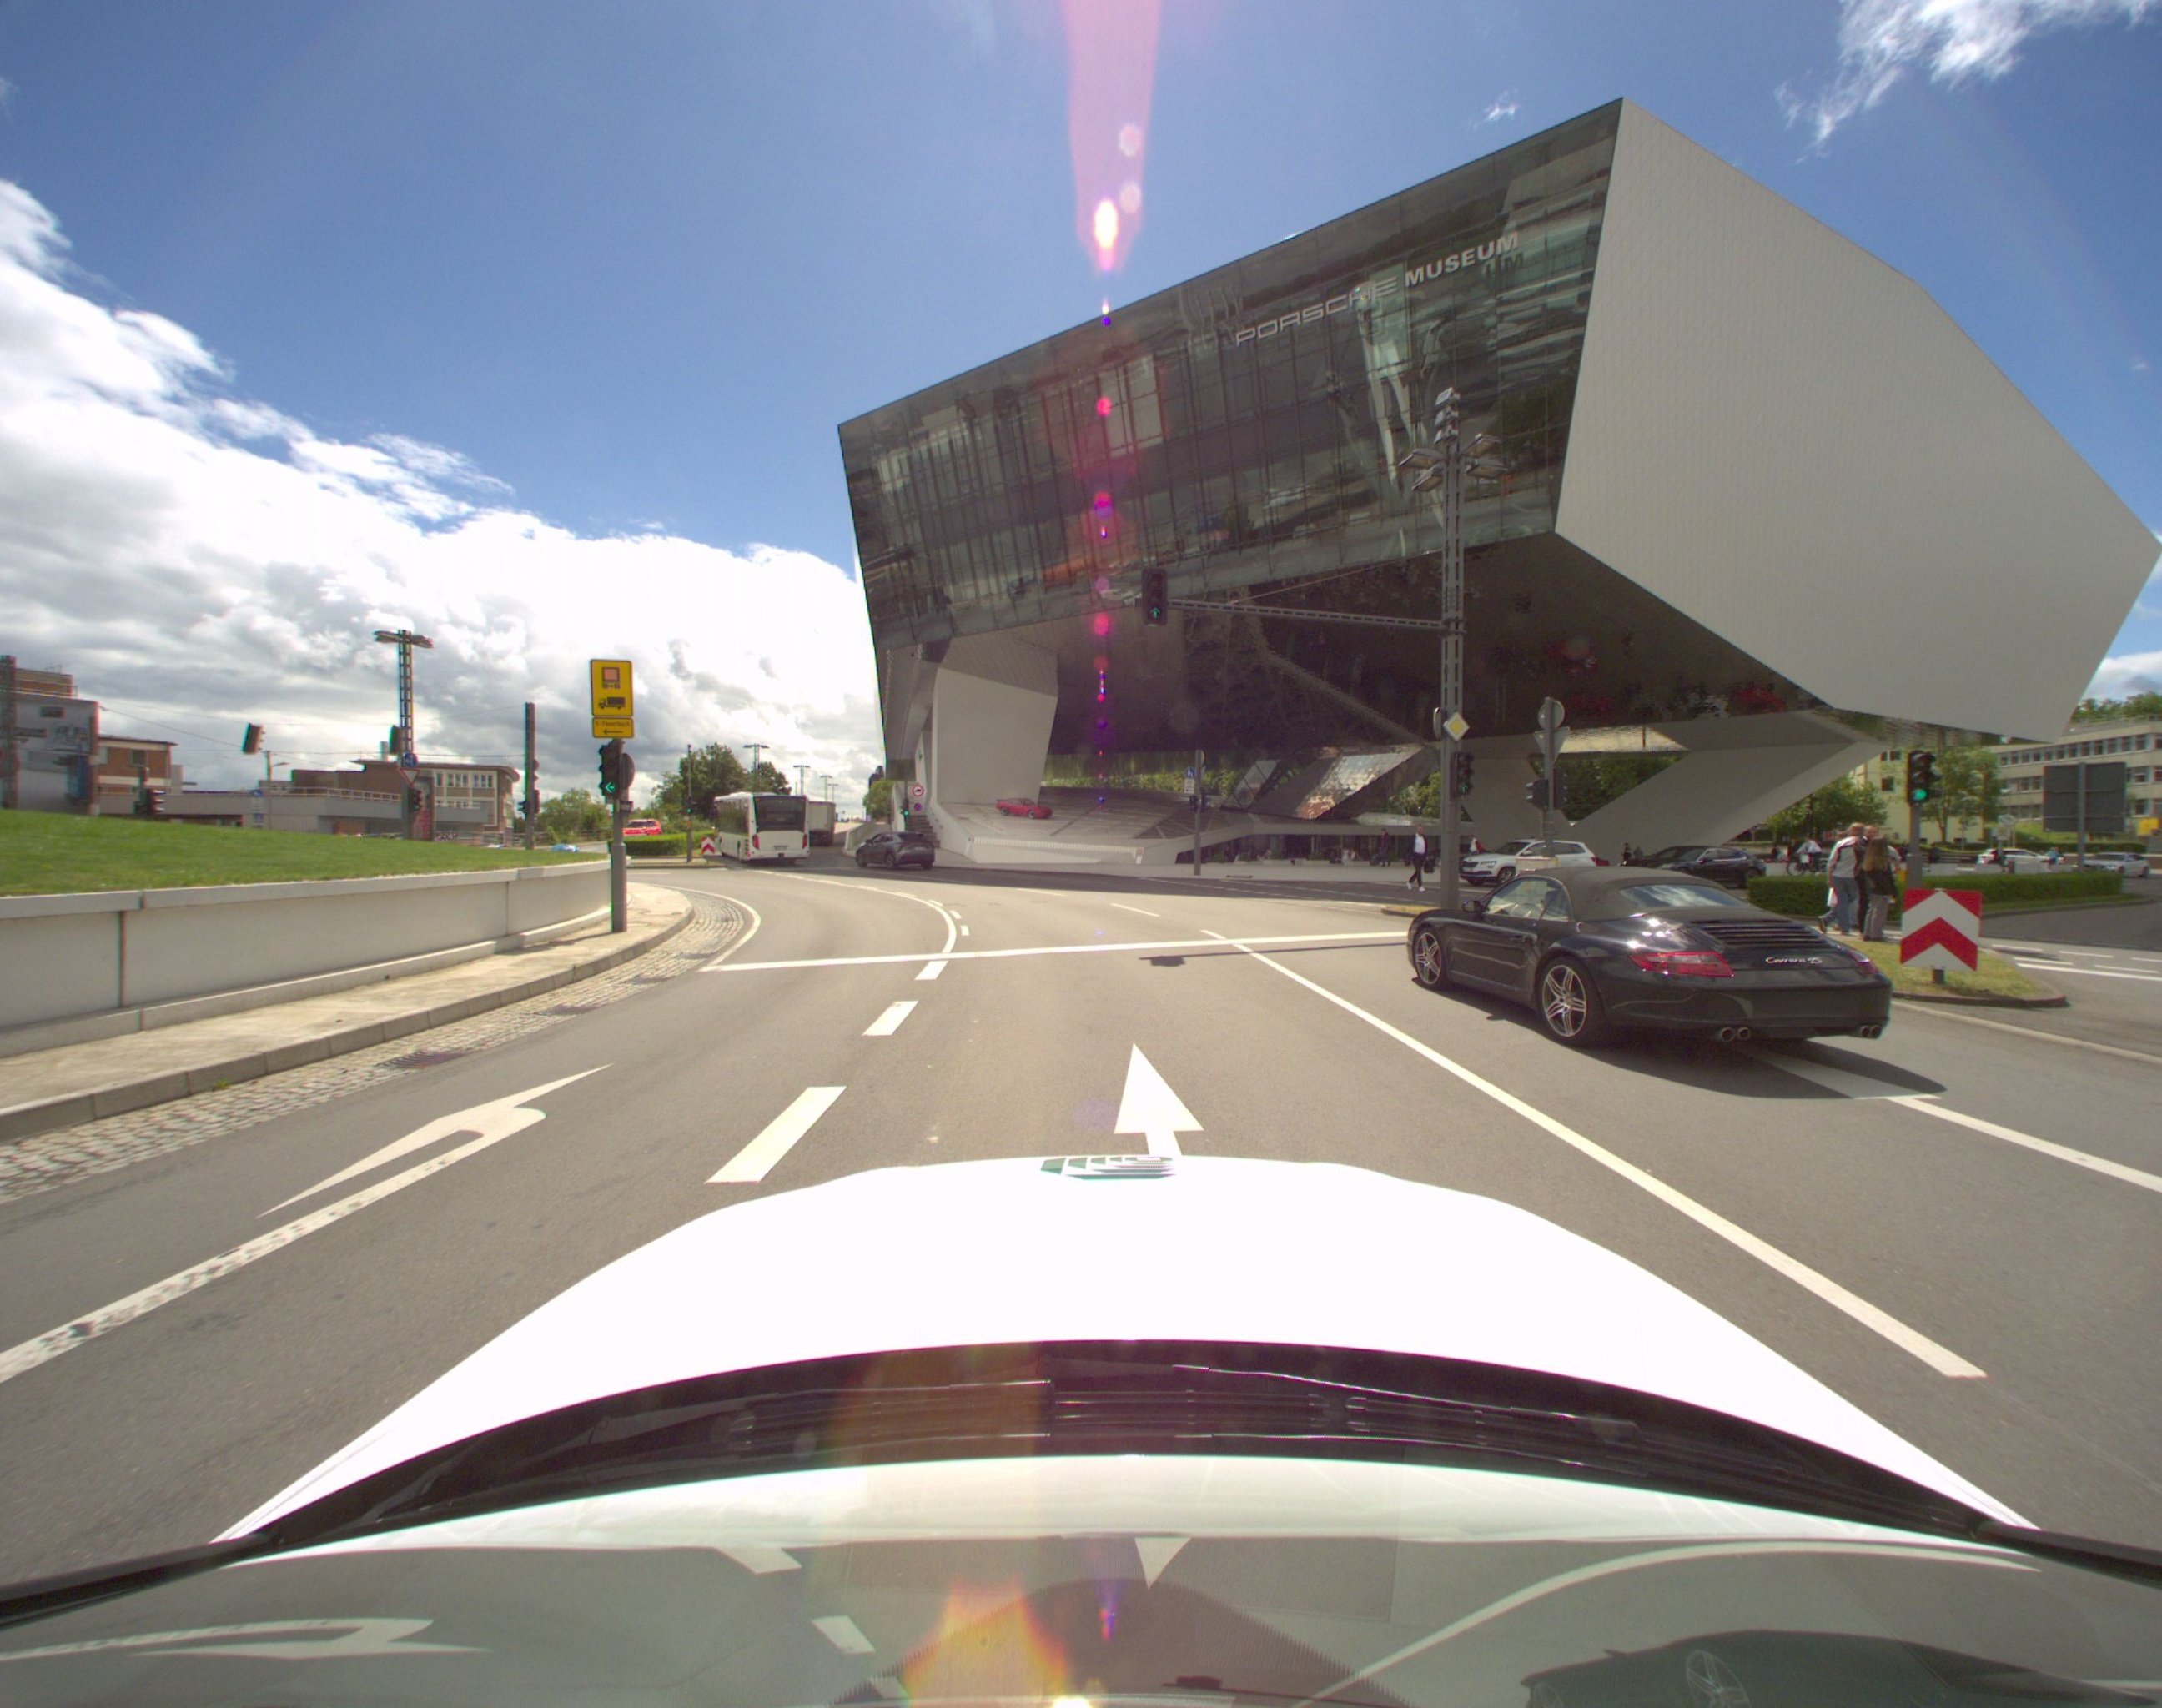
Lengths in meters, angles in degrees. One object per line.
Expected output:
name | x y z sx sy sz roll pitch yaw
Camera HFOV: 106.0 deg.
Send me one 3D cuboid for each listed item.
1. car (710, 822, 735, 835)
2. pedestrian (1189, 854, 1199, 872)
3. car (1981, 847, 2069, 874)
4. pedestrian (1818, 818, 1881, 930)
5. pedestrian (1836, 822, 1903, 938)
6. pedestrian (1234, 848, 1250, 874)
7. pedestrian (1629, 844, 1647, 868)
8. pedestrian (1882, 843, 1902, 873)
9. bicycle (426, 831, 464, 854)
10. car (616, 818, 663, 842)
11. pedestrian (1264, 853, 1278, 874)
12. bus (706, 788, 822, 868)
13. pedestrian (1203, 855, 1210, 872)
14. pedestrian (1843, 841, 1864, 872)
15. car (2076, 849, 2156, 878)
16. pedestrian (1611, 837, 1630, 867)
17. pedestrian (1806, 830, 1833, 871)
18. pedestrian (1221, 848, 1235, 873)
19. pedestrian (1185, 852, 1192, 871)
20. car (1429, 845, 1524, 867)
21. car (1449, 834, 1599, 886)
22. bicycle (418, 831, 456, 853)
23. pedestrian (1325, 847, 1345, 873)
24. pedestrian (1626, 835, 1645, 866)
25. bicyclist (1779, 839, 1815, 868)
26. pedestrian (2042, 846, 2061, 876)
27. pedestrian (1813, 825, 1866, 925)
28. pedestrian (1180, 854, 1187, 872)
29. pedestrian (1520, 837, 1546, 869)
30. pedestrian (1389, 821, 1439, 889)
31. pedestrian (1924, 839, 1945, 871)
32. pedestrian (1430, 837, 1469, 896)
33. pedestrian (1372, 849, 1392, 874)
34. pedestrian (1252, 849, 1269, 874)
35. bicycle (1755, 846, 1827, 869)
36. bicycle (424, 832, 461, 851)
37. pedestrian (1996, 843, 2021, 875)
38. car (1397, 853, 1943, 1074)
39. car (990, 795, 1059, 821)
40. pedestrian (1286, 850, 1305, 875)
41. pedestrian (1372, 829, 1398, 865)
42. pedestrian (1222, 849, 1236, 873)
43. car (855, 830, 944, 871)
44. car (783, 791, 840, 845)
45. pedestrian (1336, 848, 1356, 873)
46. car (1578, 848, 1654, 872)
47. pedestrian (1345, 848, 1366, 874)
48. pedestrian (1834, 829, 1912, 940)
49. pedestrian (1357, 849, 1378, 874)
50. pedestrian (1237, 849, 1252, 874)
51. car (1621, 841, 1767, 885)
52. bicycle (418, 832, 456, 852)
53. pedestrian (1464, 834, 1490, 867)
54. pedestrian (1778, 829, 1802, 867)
car | -41.557 -2.971 94.541 1.756 1.397 4.656 1 3 -12
pedestrian | 7.919 0.627 57.225 0.555 1.253 0.477 0 -1 27
car | 72.932 0.519 63.019 4.158 2.014 2.012 0 -1 39
pedestrian | 13.068 0.338 13.859 0.664 1.847 0.624 0 -1 32
pedestrian | 12.624 0.403 13.051 0.664 1.795 0.624 0 -1 33
pedestrian | 10.087 0.438 50.926 0.914 1.573 0.833 1 -1 13
pedestrian | 40.541 0.141 59.247 0.830 1.739 0.770 1 -1 -29
pedestrian | 53.893 0.258 54.127 0.830 2.014 0.769 1 -1 -32
bicycle | -40.860 -0.734 52.339 1.740 1.381 0.667 1 -1 -14
car | -37.542 -2.047 69.401 1.993 1.983 4.822 -1 2 -10
pedestrian | 11.890 0.593 51.064 0.636 1.318 0.698 0 -1 35
bus | -16.057 -1.358 40.488 3.092 3.361 12.102 1 2 -32
pedestrian | 9.078 0.681 58.744 0.470 1.253 0.563 1 -1 9
pedestrian | 51.720 0.178 54.534 0.828 2.014 0.771 1 -1 -24
car | 60.937 0.556 47.939 4.002 1.643 1.873 1 -1 -22
pedestrian | 36.234 -0.142 54.702 0.830 2.014 0.769 1 -1 -32
pedestrian | 36.300 -0.170 40.026 0.767 2.014 0.832 0 -1 25
pedestrian | 9.254 0.430 51.318 0.823 1.573 0.926 1 -1 10
pedestrian | 7.052 0.495 53.459 0.393 1.253 0.400 1 -1 -3
car | 23.256 0.102 47.956 4.620 1.221 2.012 0 -1 44
car | 14.409 0.184 26.605 3.983 1.550 1.834 -1 0 -7
bicycle | -40.625 -0.740 51.407 1.740 1.381 0.667 1 -1 -14
pedestrian | 16.012 0.384 51.292 0.831 1.573 0.916 1 -1 -22
pedestrian | 36.555 -0.237 53.707 0.830 2.014 0.769 1 -1 -32
bicyclist | 32.093 -0.027 36.522 0.994 1.275 0.892 0 -1 26
pedestrian | 67.188 0.475 56.364 0.780 2.014 0.818 2 -1 -37
pedestrian | 13.715 0.378 14.732 0.599 1.759 0.624 0 -1 33
pedestrian | 7.098 0.607 56.446 0.393 1.253 0.561 1 -1 -3
pedestrian | 22.387 -0.051 40.327 0.786 1.541 0.799 1 -1 -18
pedestrian | 9.916 0.008 24.319 0.949 1.984 1.383 1 2 3
pedestrian | 53.195 0.074 50.752 0.830 2.014 0.769 1 -1 -32
pedestrian | 9.695 0.325 21.422 0.762 1.496 0.586 0 -1 44
pedestrian | 19.342 0.471 52.385 0.829 1.573 0.918 1 -1 -16
pedestrian | 11.360 0.464 51.605 0.785 1.573 0.698 0 -1 38
bicycle | 31.920 0.161 36.639 2.328 0.973 0.723 1 -1 27
bicycle | -41.428 -0.832 52.881 1.740 1.182 0.667 1 1 -15
pedestrian | 60.676 0.331 53.259 0.818 2.014 0.781 0 -1 23
car | 4.449 0.676 7.069 1.829 1.325 3.999 -1 0 -1
car | -3.976 -3.270 57.047 4.457 1.394 2.013 8 9 33
pedestrian | 13.772 0.532 52.289 0.831 1.573 0.916 1 -1 -22
pedestrian | 15.756 -0.333 42.221 0.831 1.826 0.916 1 -1 -22
pedestrian | 9.544 0.445 52.506 0.822 1.573 0.927 1 -1 14
car | -7.821 -0.150 34.867 2.011 1.637 3.952 1 -1 -42
car | -20.080 -2.518 61.212 3.341 3.504 9.294 1 -1 -15
pedestrian | 16.957 0.403 52.113 0.831 1.573 0.916 1 -1 -22
car | 36.728 0.392 55.976 3.970 1.549 2.002 1 -1 3
pedestrian | 17.280 0.429 51.238 0.831 1.573 0.916 1 -1 -22
pedestrian | 12.092 0.455 12.448 0.620 1.638 0.668 1 -1 -21
pedestrian | 18.353 0.455 52.208 0.831 1.573 0.916 1 -1 -22
pedestrian | 10.447 0.455 52.074 0.914 1.573 0.833 1 -1 13
car | 20.571 0.305 27.354 4.154 1.383 1.828 1 1 -17
bicycle | -41.205 -0.785 52.094 1.741 1.181 0.666 1 5 -17
pedestrian | 20.676 -0.183 42.508 0.831 1.676 0.916 1 -1 -22
pedestrian | 38.355 -0.311 44.080 0.830 2.014 0.769 1 -1 -32
